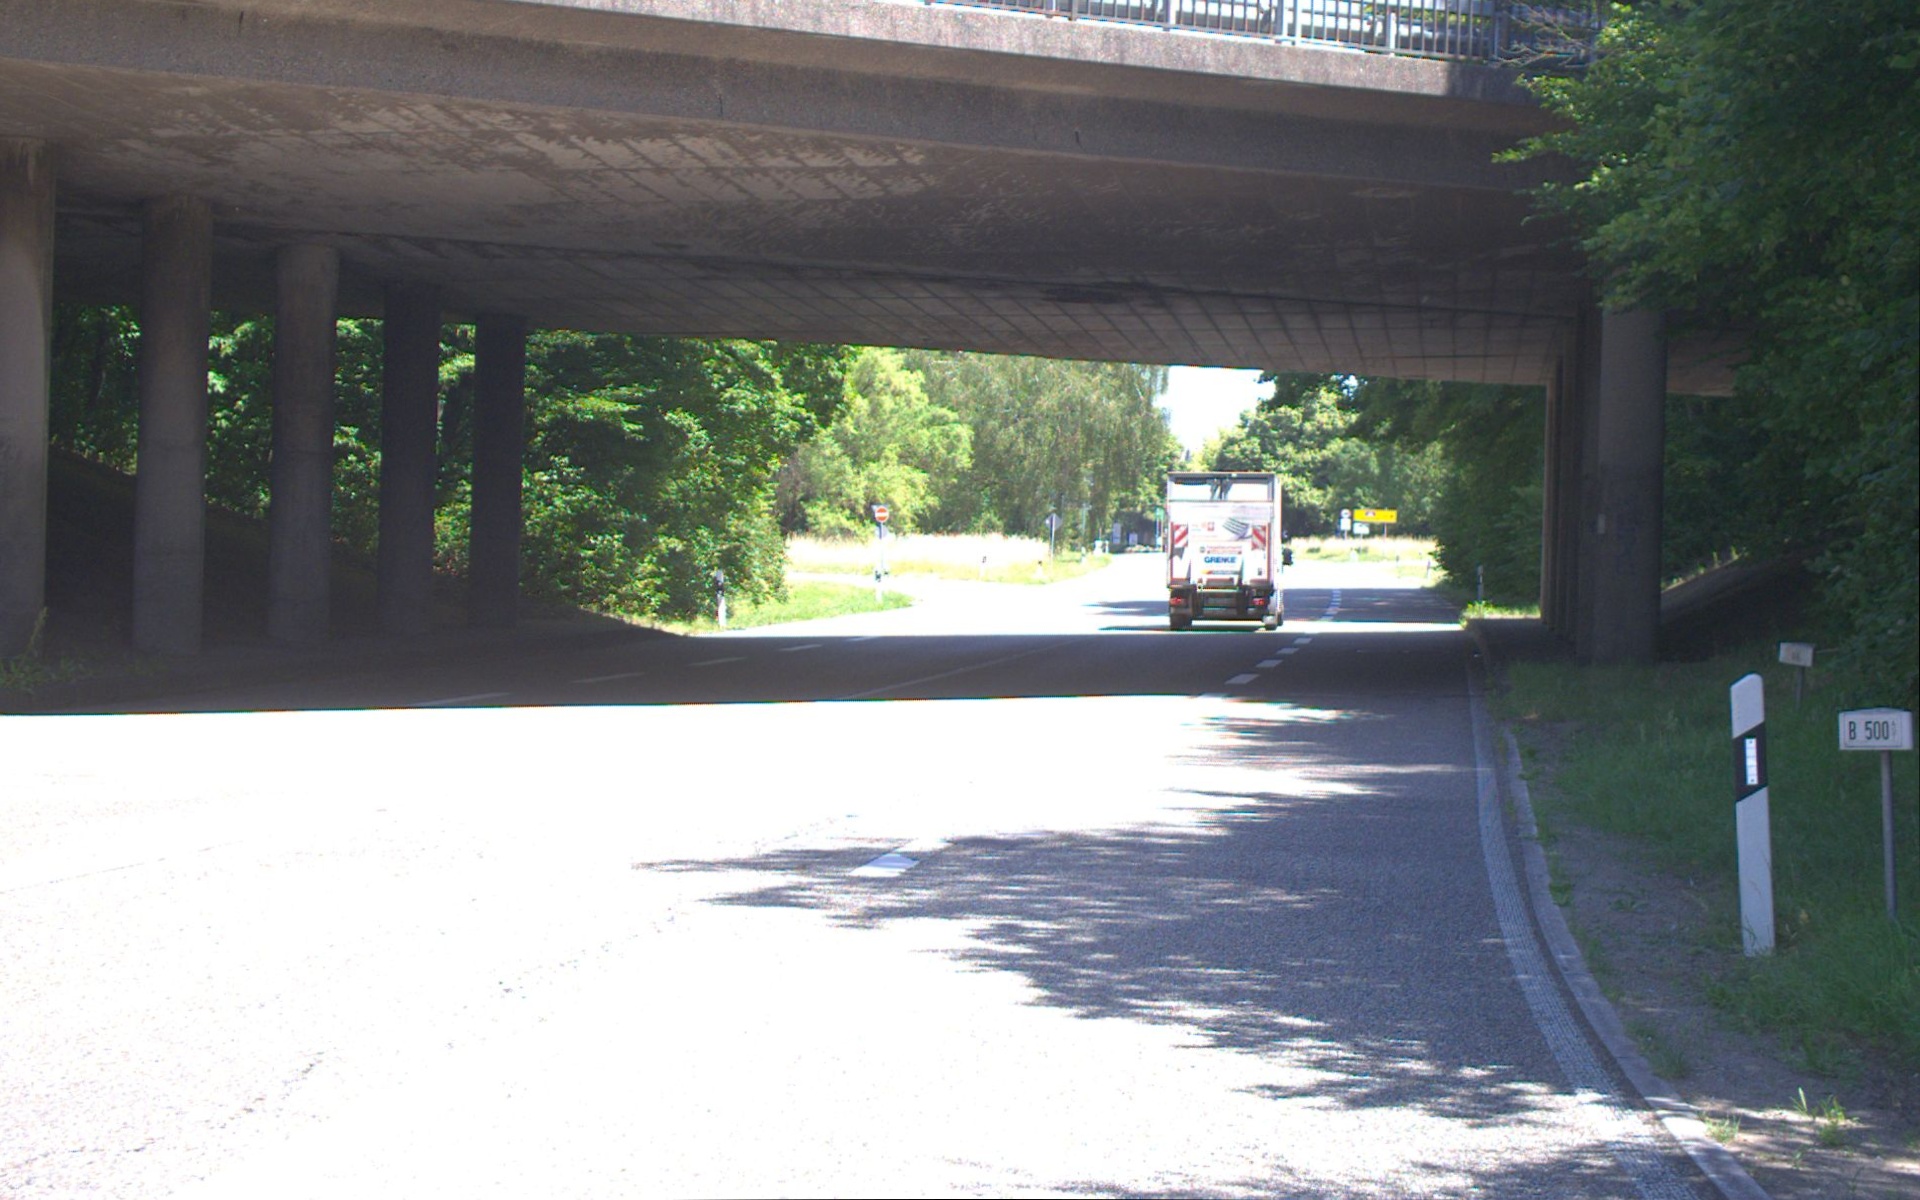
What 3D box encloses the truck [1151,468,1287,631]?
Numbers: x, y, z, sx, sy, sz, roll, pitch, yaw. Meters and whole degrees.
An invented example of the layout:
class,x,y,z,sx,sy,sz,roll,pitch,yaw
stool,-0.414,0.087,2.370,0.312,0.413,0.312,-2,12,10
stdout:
class,x,y,z,sx,sy,sz,roll,pitch,yaw
truck,5.043,-0.952,66.142,2.241,2.974,5.893,1,0,7
